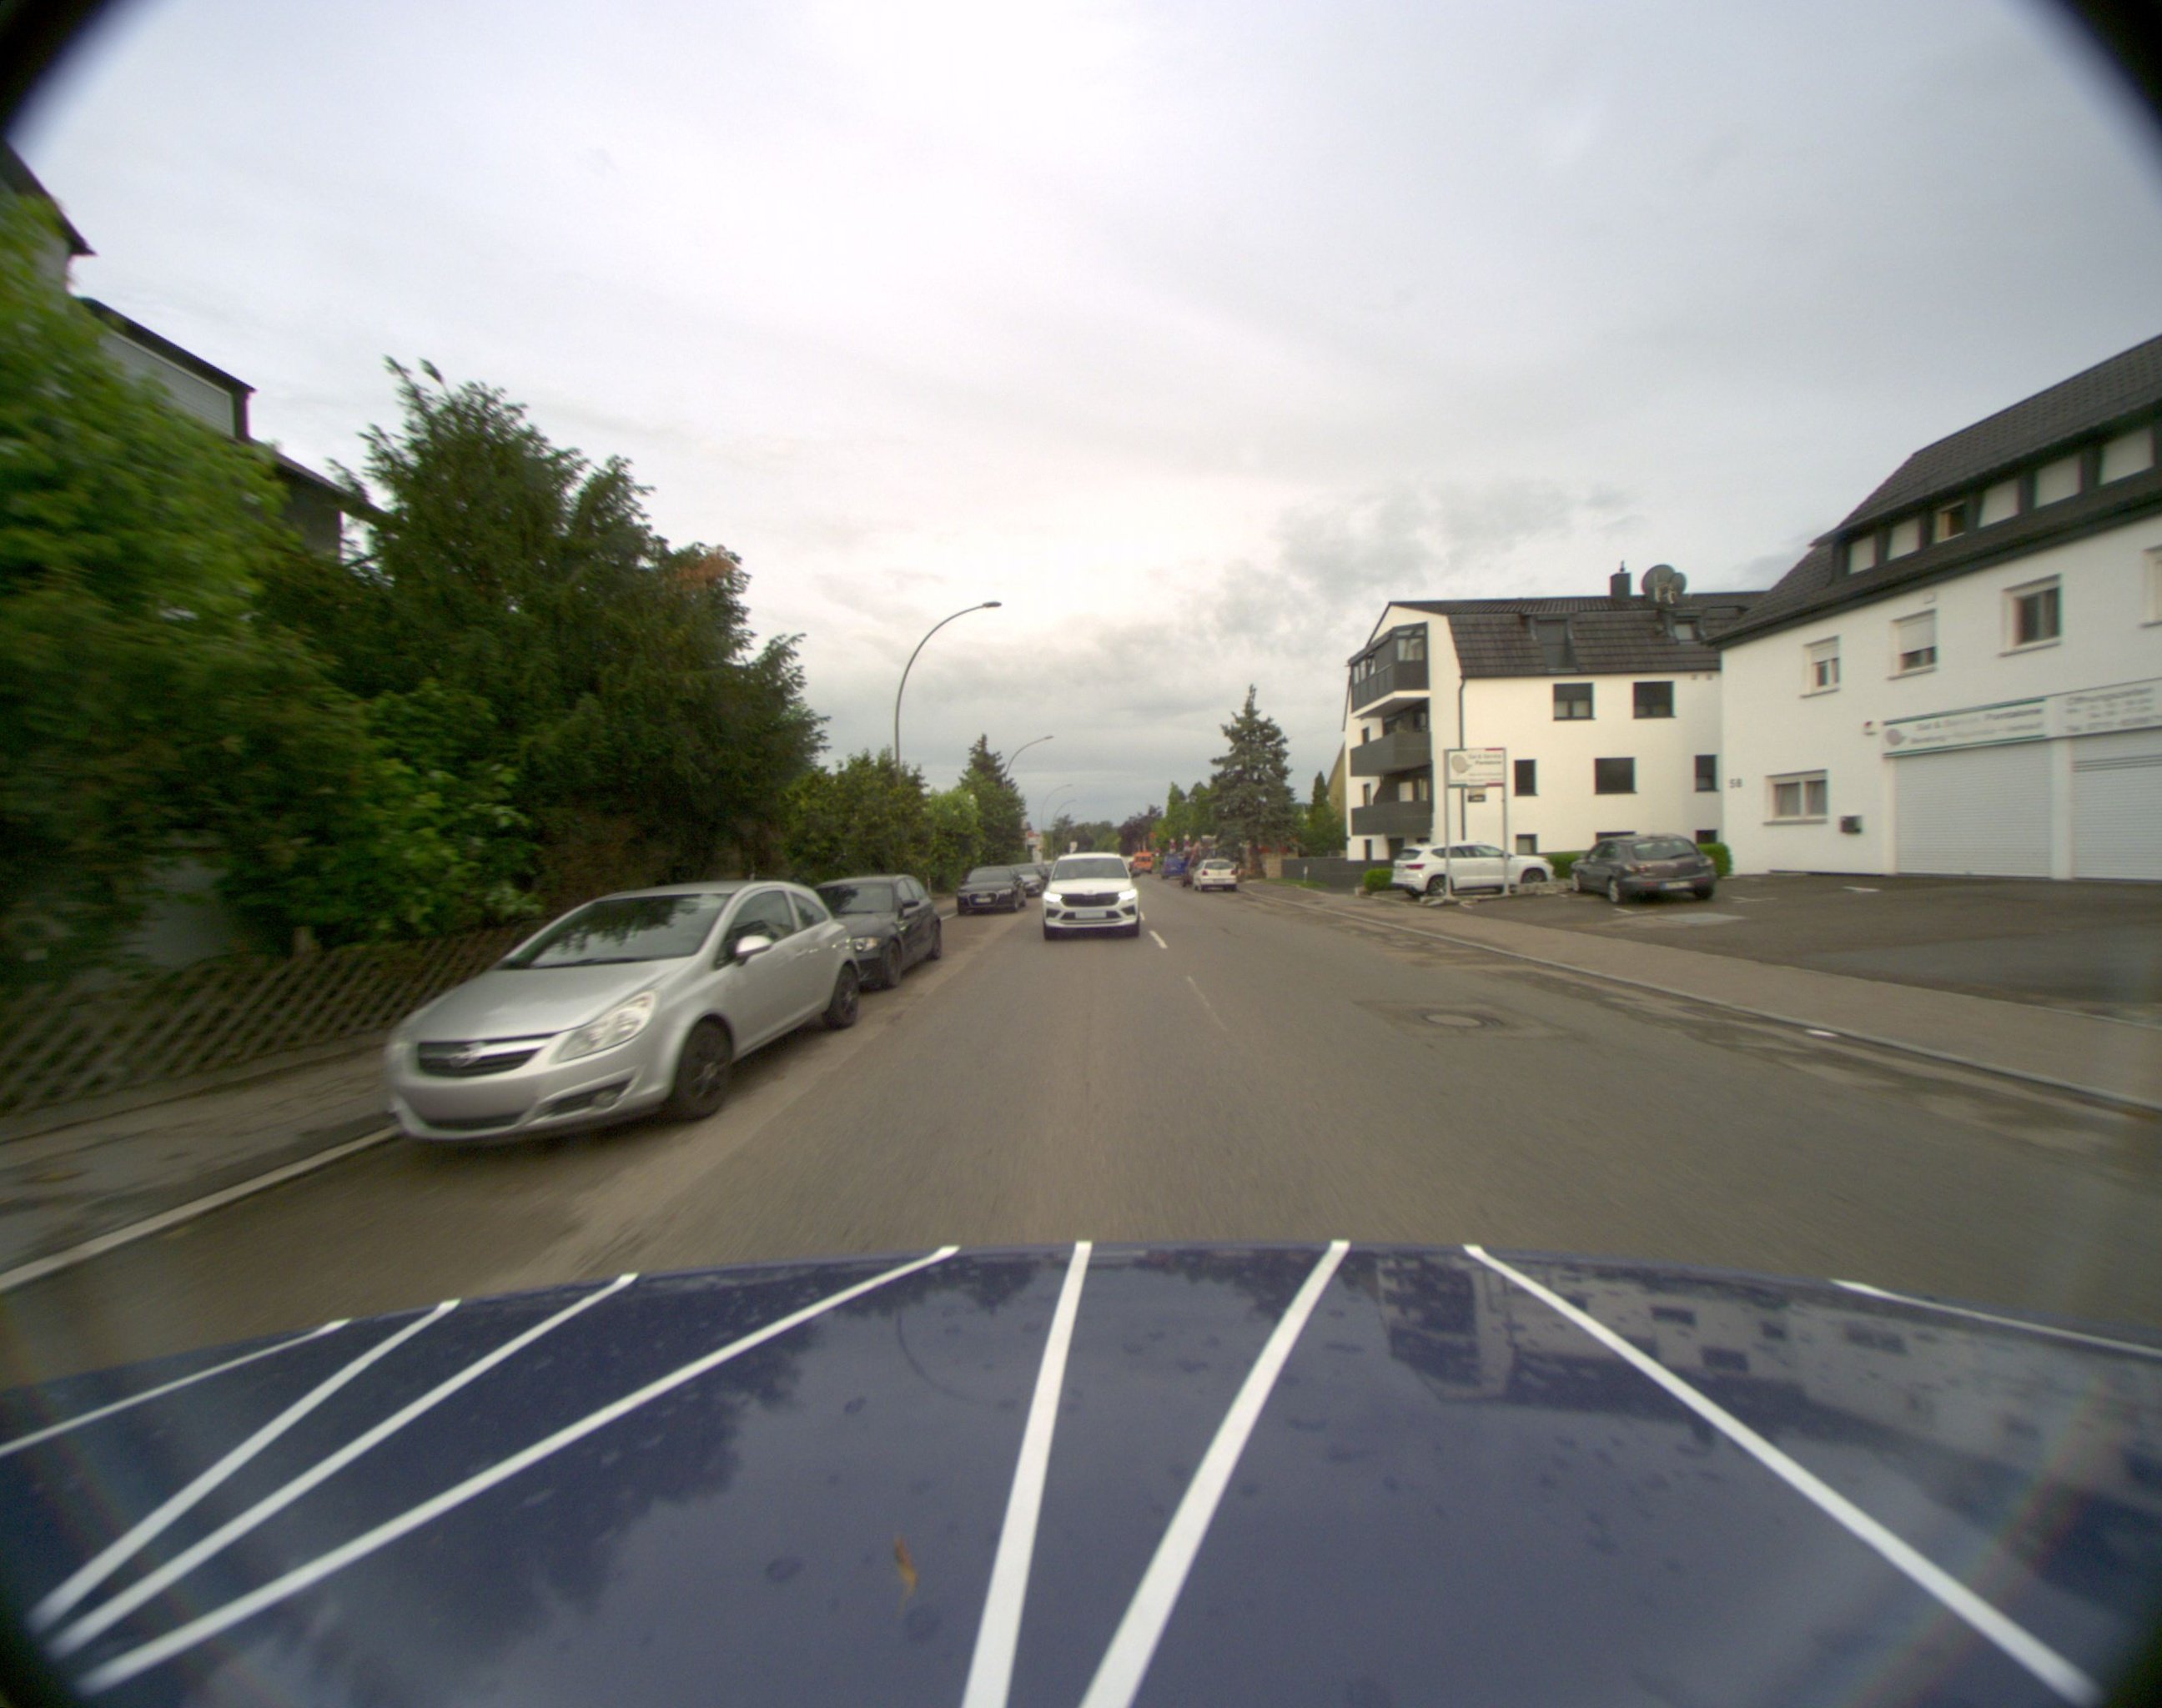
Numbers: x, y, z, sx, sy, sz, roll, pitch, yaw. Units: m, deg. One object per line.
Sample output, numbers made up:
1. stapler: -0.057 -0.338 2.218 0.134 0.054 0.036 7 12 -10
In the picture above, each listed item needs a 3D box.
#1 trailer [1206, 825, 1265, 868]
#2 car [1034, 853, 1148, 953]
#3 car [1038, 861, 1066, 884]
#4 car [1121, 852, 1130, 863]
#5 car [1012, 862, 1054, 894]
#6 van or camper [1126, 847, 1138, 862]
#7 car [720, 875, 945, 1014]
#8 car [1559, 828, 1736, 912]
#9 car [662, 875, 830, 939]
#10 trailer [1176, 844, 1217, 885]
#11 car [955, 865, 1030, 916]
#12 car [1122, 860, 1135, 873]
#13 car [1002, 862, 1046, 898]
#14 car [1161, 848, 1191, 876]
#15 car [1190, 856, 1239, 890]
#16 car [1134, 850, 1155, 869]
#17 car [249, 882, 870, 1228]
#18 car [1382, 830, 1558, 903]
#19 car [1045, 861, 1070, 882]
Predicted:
1. trailer: 11.717 -0.555 57.874 4.059 3.029 2.168 -2 1 2
2. car: 0.228 0.844 15.209 1.884 1.650 4.831 -1 0 1
3. car: -2.019 1.299 54.204 1.677 1.455 3.690 -4 0 1
4. car: 9.306 0.647 158.514 1.659 2.220 3.745 -2 0 1
5. car: -2.353 1.177 38.379 1.766 1.431 4.484 -1 0 0
6. van or camper: 8.272 0.084 123.630 1.811 2.328 4.001 -1 0 3
7. car: -3.180 1.092 10.563 1.742 1.394 3.719 -3 0 1
8. car: 12.696 0.277 17.364 1.822 1.521 4.004 -7 0 16
9. car: -9.576 1.510 21.910 3.996 1.421 1.701 -5 0 3
10. trailer: 6.365 0.532 42.212 1.721 2.114 4.007 -2 0 1
11. car: -2.698 1.091 24.054 1.756 1.410 4.110 -1 0 1
12. car: 7.027 1.805 112.432 1.811 1.761 4.001 -1 0 3
13. car: -2.462 1.109 33.587 1.656 1.431 4.043 -1 0 -1
14. car: 7.527 0.640 60.650 1.998 2.112 4.755 -1 0 2
15. car: 6.266 0.864 35.974 1.740 1.496 3.871 -1 0 2
16. car: 7.636 0.669 92.086 2.264 2.275 4.531 1 0 1
17. car: -3.124 1.070 5.681 1.741 1.493 3.882 -3 0 3
18. car: 11.219 0.353 22.128 3.997 1.637 2.000 -5 0 -1
19. car: -1.809 1.373 60.058 1.677 1.455 3.552 -4 0 1
